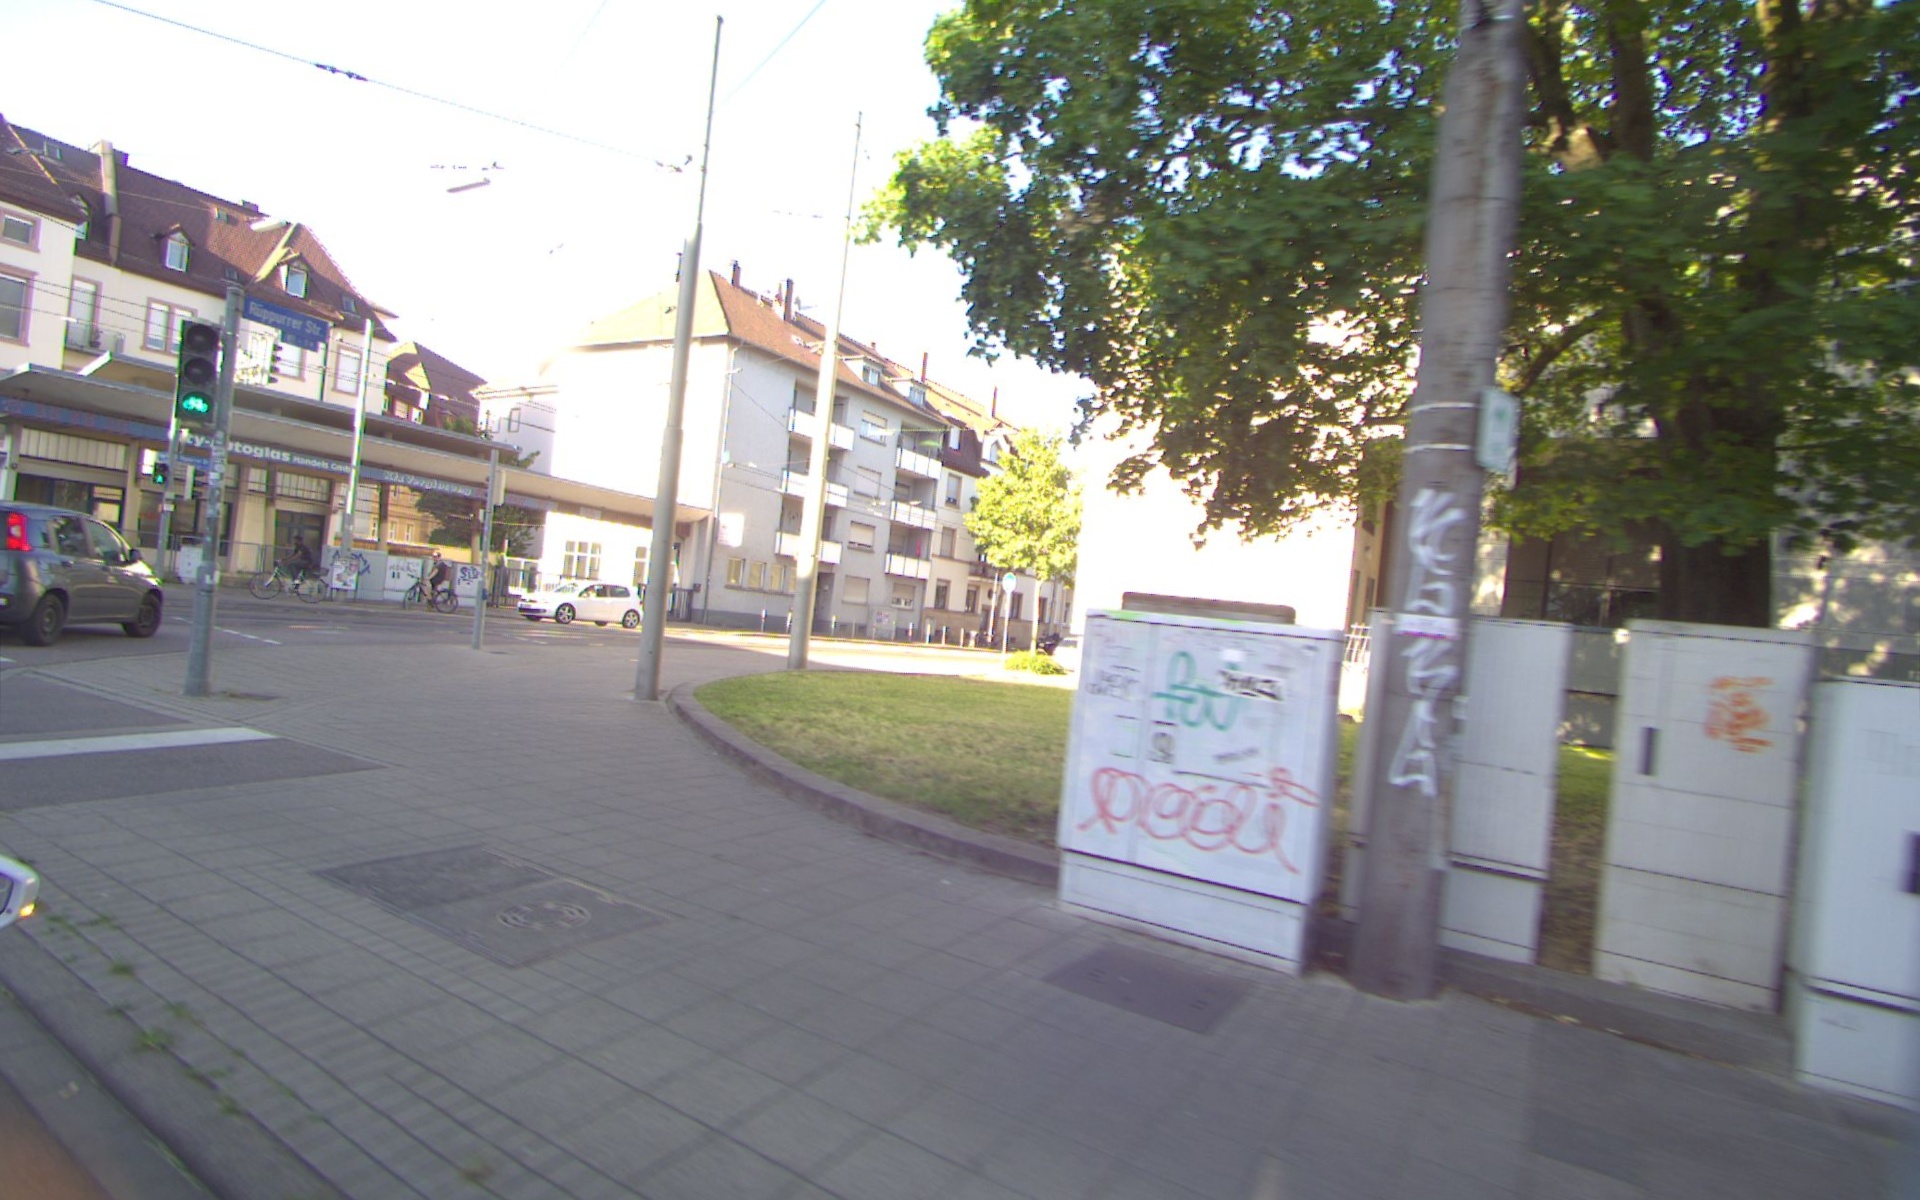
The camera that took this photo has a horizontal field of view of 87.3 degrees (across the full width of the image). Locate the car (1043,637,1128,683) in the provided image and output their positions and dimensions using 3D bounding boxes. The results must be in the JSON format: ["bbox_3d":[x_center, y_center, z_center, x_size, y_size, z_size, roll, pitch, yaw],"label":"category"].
[{"bbox_3d":[4.837,2.324,38.407,1.620,1.472,3.906,5,-2,32],"label":"car"}]

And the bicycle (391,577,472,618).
[{"bbox_3d":[-16.115,-0.054,30.720,0.716,1.029,2.043,5,-1,32],"label":"bicycle"}]

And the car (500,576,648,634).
[{"bbox_3d":[-12.430,0.189,32.642,1.768,1.475,4.181,4,-2,33],"label":"car"}]

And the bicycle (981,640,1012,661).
[{"bbox_3d":[2.197,3.047,60.933,1.679,1.046,0.444,7,0,12],"label":"bicycle"}]

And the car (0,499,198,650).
[{"bbox_3d":[-10.956,-0.352,11.898,1.711,1.518,3.987,7,-2,-17],"label":"car"}]

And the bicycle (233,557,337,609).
[{"bbox_3d":[-17.890,-0.440,26.691,0.883,1.138,2.056,5,-2,40],"label":"bicycle"}]

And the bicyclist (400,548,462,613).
[{"bbox_3d":[-16.120,-0.573,30.653,0.895,1.809,1.252,5,-1,27],"label":"bicyclist"}]

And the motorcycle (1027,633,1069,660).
[{"bbox_3d":[5.855,3.113,66.944,1.439,1.499,3.096,5,-2,31],"label":"motorcycle"}]

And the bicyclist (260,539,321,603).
[{"bbox_3d":[-17.775,-0.762,26.707,0.867,1.545,1.046,5,0,40],"label":"bicyclist"}]
